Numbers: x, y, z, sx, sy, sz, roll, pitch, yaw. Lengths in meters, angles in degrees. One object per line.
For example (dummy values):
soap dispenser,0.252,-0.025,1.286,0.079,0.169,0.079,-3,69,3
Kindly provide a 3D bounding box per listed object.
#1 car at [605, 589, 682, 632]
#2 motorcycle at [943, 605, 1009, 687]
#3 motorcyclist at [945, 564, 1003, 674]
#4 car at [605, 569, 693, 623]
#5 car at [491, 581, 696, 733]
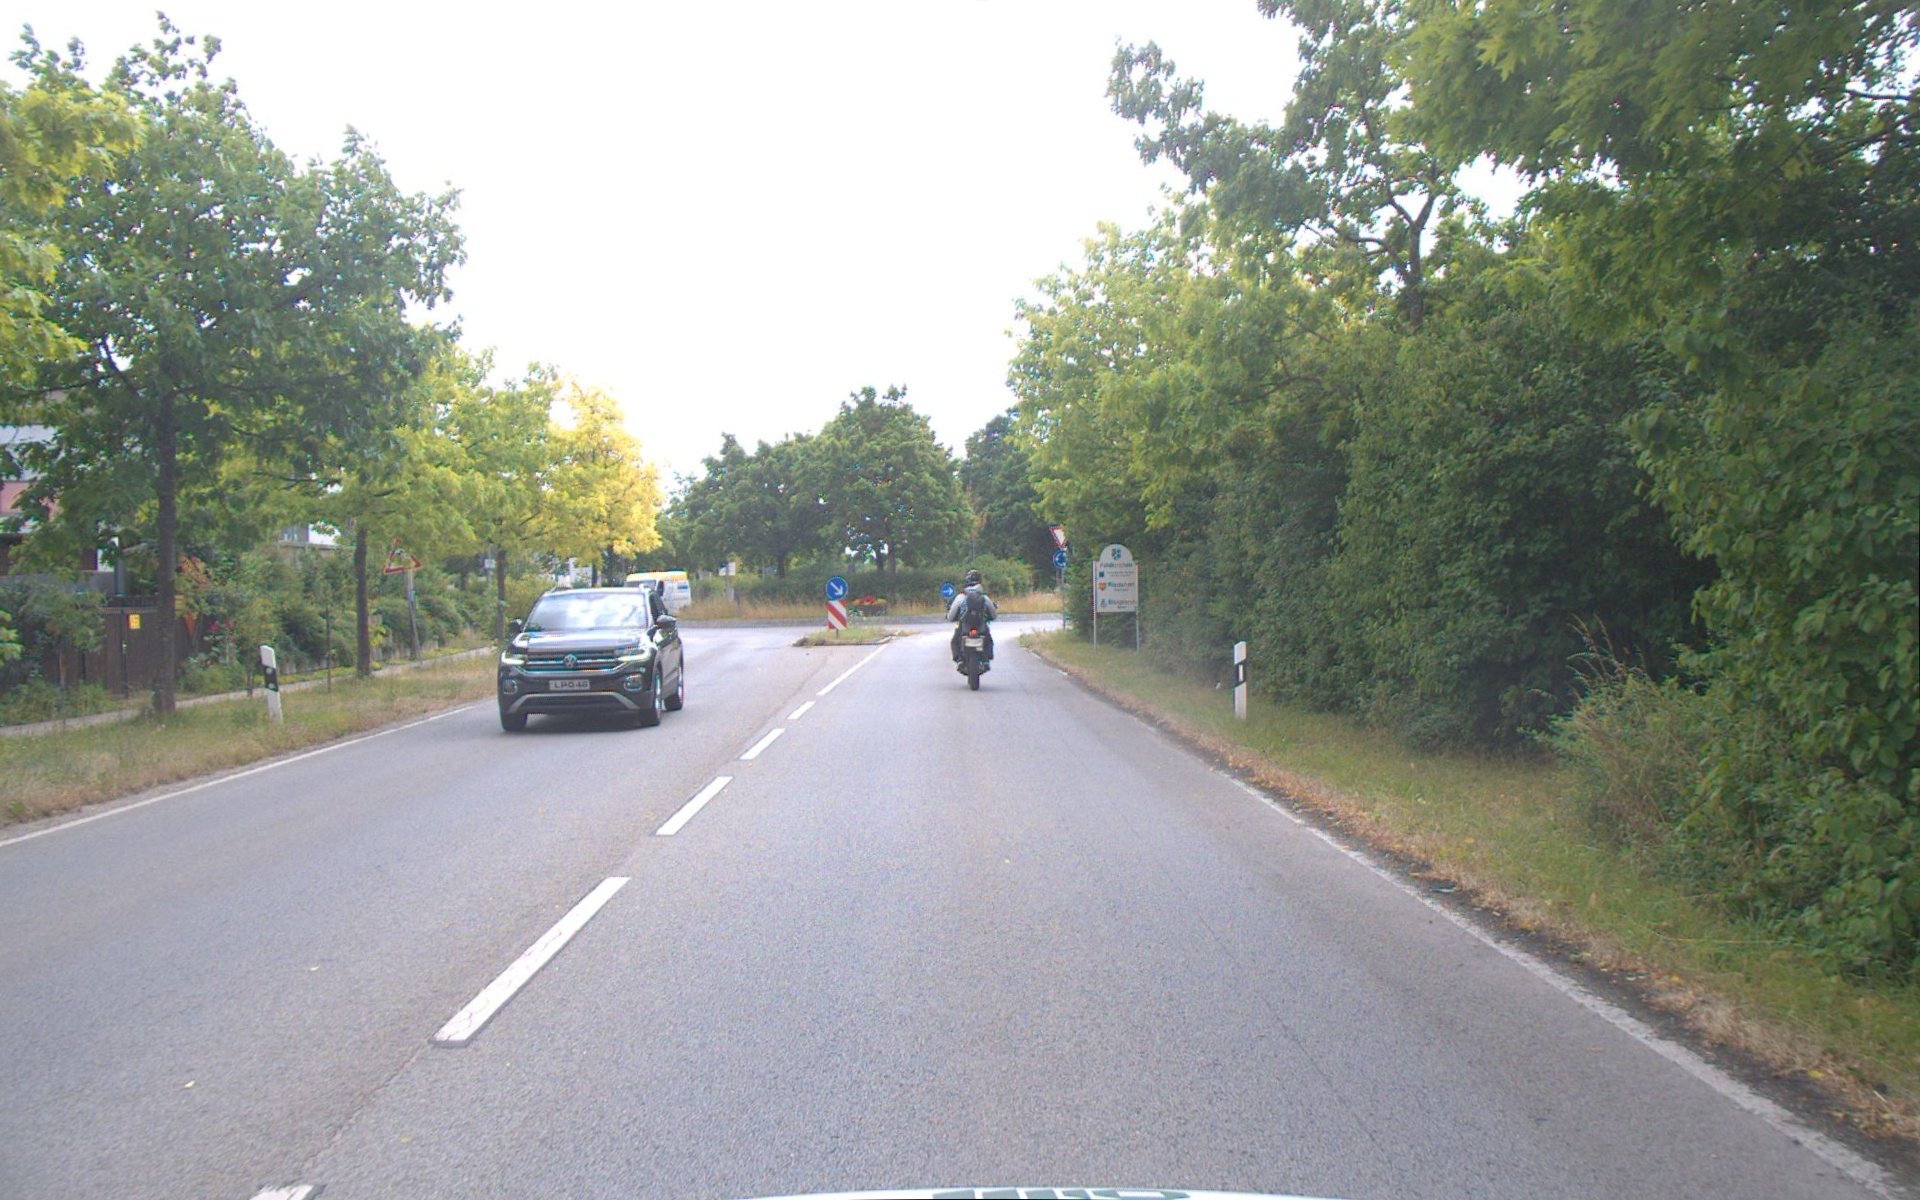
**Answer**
car,-12.968,0.438,67.579,1.720,1.613,4.311,-3,0,-30
motorcycle,0.222,0.680,25.658,0.878,1.178,2.619,-1,0,-2
motorcyclist,0.205,0.287,25.575,0.844,1.652,1.190,-1,0,-2
car,-15.035,-0.212,80.415,2.116,2.494,5.447,-1,1,13
car,-4.207,0.593,19.565,1.699,1.561,4.092,-1,0,-3
